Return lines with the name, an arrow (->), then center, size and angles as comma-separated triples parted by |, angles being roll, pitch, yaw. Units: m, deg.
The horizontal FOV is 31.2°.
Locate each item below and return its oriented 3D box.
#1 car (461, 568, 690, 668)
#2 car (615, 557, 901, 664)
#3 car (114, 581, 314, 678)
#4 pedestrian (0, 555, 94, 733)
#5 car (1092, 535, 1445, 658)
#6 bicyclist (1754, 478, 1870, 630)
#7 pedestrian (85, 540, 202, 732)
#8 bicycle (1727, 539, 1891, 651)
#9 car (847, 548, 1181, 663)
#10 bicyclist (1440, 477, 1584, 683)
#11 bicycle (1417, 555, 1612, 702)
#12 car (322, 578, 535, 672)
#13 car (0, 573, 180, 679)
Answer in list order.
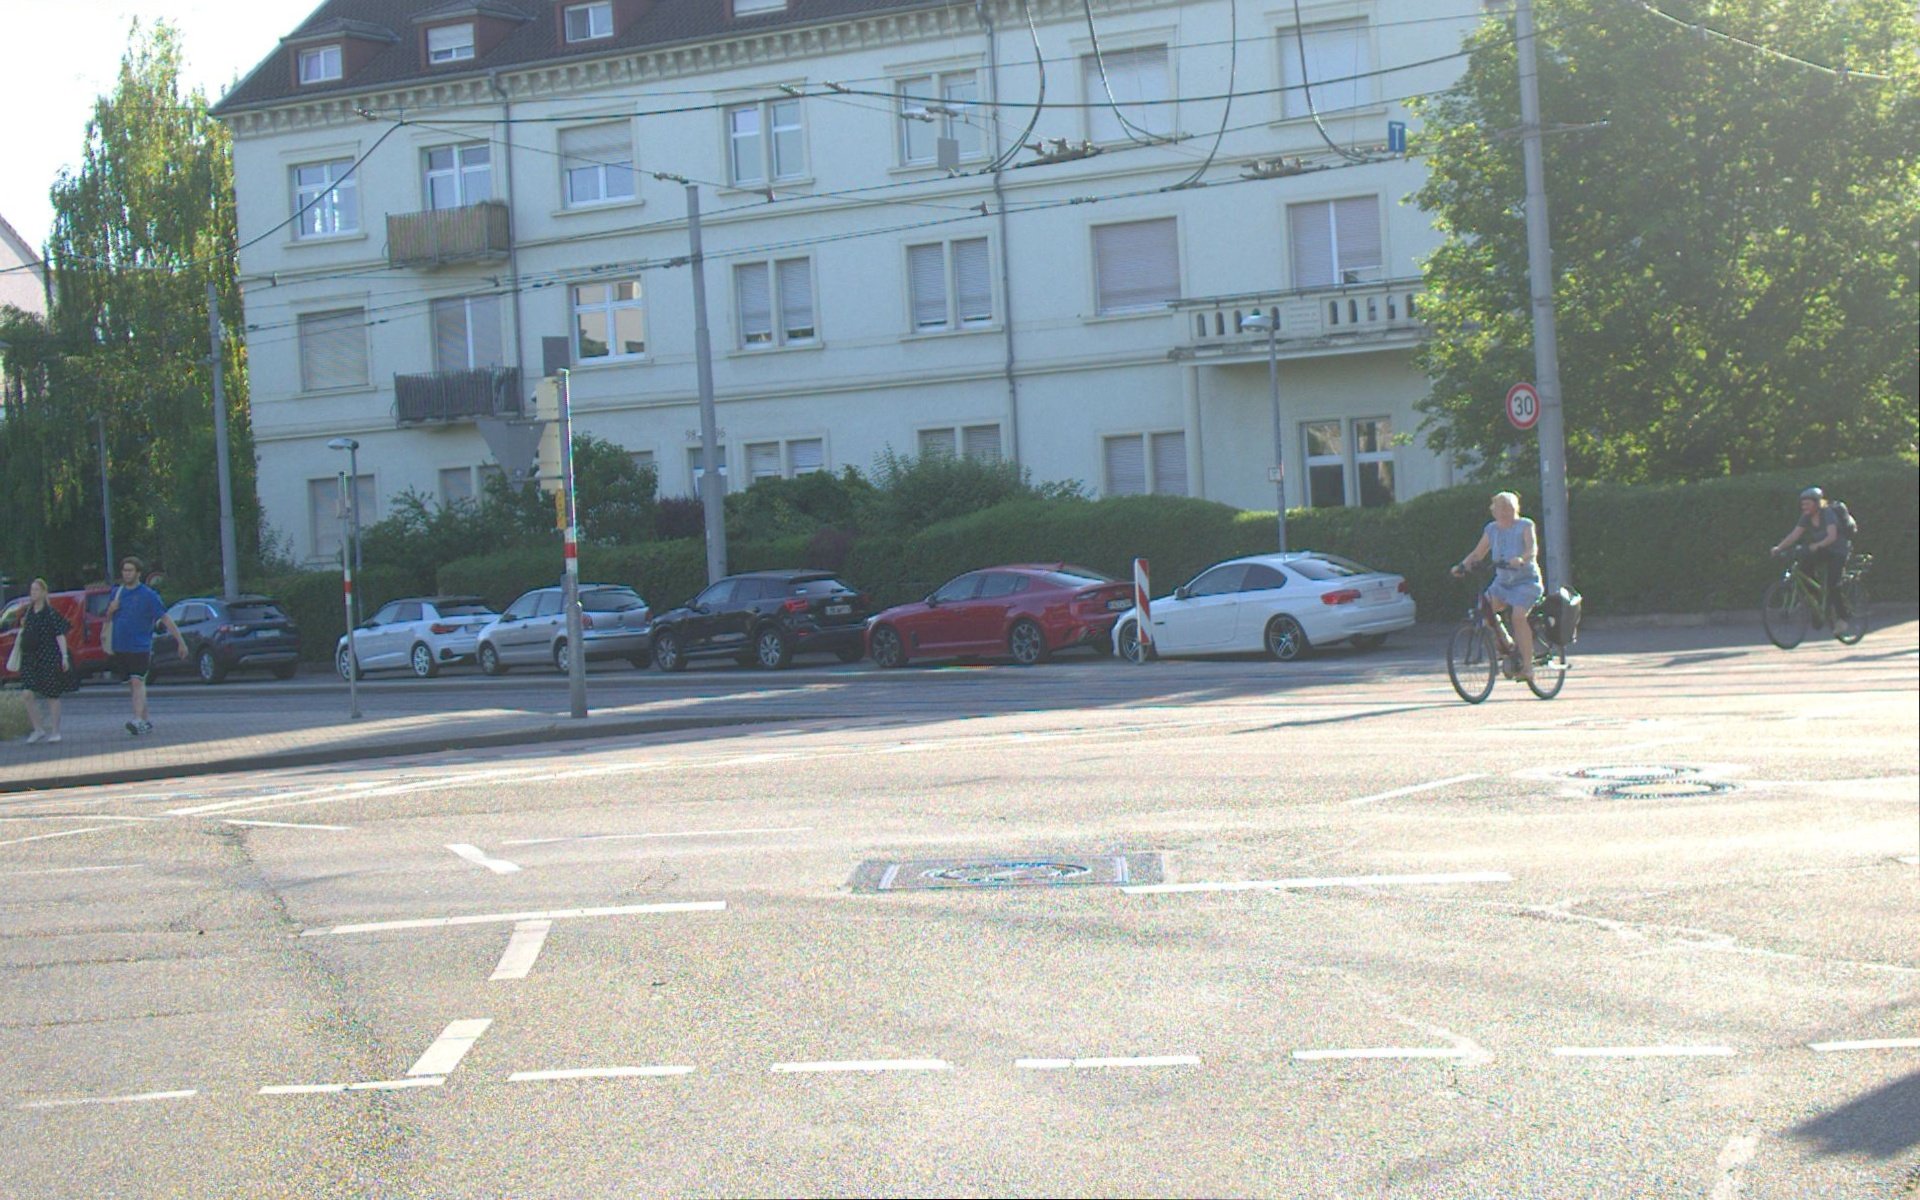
car -> -6.499, 0.314, 57.882 | 1.982, 1.442, 3.717 | -7, 3, -41
car -> -3.264, 0.181, 54.636 | 1.982, 1.442, 4.703 | -7, 3, -41
car -> -14.615, 0.588, 67.213 | 1.840, 1.662, 4.368 | -7, 3, -41
pedestrian -> -9.434, 0.439, 35.001 | 0.911, 1.741, 1.068 | -3, 1, -3
car -> 4.088, -0.032, 46.130 | 1.926, 1.371, 4.494 | -7, 3, -42
bicyclist -> 8.945, -0.485, 36.093 | 1.035, 1.526, 0.660 | -4, 1, -44
pedestrian -> -8.463, 0.363, 35.672 | 0.911, 1.918, 1.068 | -3, 1, -3
bicycle -> 8.924, -0.056, 36.089 | 2.014, 1.065, 0.663 | -4, 1, -44
car -> 0.748, 0.094, 50.126 | 4.702, 1.371, 1.982 | -2, 3, 44
bicyclist -> 4.454, -0.165, 27.733 | 0.776, 1.600, 0.856 | -2, 1, 35
bicycle -> 4.476, 0.215, 27.621 | 0.663, 1.065, 2.015 | -2, 1, 36
car -> -9.513, 0.457, 61.376 | 1.840, 1.442, 3.957 | -7, 3, -41
car -> -18.651, 0.570, 72.253 | 2.051, 1.955, 5.148 | -7, 3, -41
